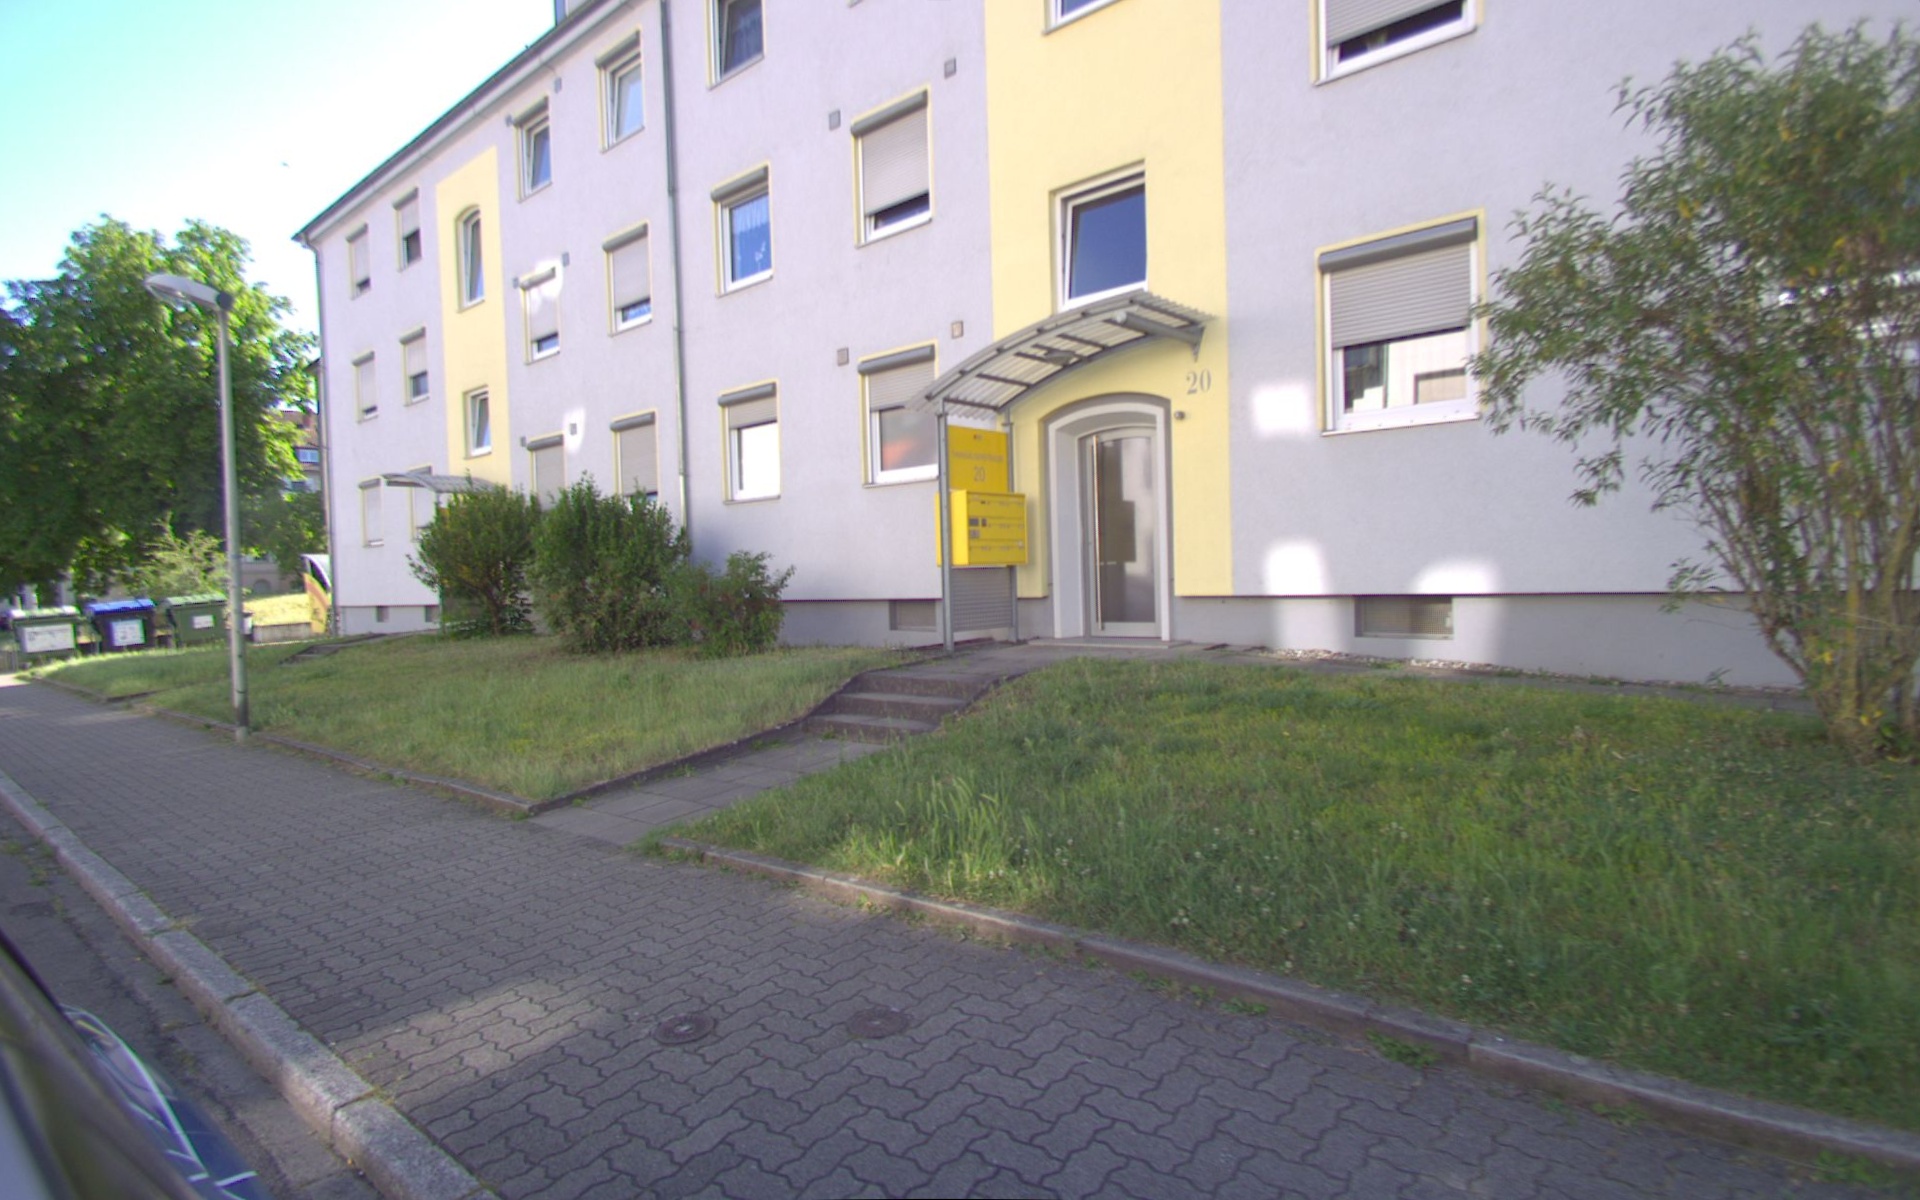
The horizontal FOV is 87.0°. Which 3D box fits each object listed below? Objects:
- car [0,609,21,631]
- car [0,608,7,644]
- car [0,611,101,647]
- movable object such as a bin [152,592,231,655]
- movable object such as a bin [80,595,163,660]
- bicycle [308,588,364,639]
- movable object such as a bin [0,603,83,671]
[{"bbox_3d":[-68.520,1.453,70.995,1.624,1.456,3.737,-1,1,43],"label":"car"},{"bbox_3d":[-46.160,1.238,47.714,1.655,1.667,3.306,-2,1,-45],"label":"car"},{"bbox_3d":[-42.651,1.314,46.944,1.728,1.508,4.087,-1,1,41],"label":"car"},{"bbox_3d":[-20.471,0.610,26.956,1.072,1.463,1.347,-1,6,41],"label":"movable object such as a bin"},{"bbox_3d":[-21.405,0.690,25.834,1.082,1.470,1.341,-1,6,41],"label":"movable object such as a bin"},{"bbox_3d":[-16.287,0.346,26.399,2.008,1.259,0.633,-1,2,42],"label":"bicycle"},{"bbox_3d":[-22.365,0.882,24.611,1.198,1.470,1.302,-1,5,41],"label":"movable object such as a bin"}]
